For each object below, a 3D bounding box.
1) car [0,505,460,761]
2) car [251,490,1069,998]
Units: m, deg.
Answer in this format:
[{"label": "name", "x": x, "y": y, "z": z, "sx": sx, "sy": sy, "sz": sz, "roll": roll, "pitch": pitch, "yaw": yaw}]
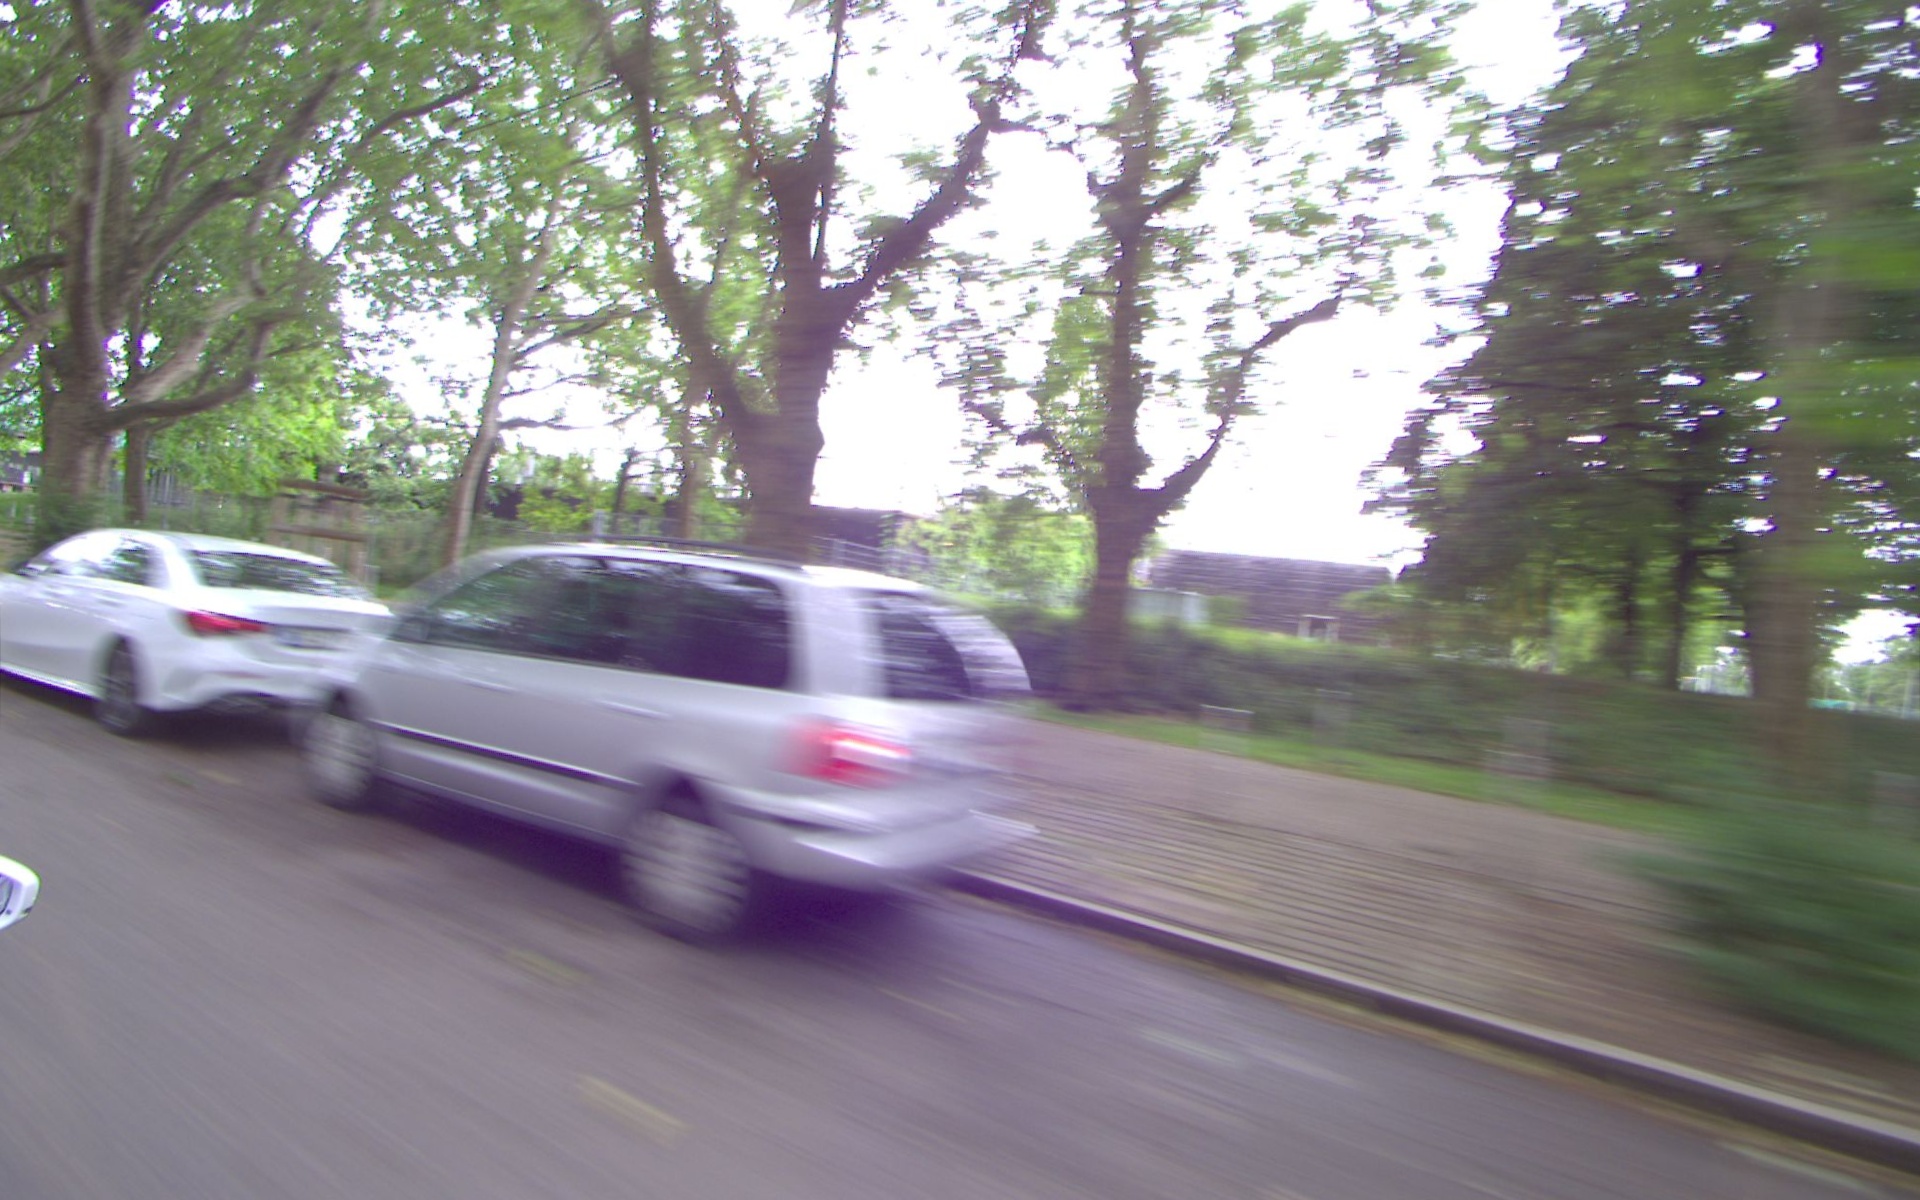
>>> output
[{"label": "car", "x": -6.453, "y": 0.144, "z": 8.339, "sx": 4.508, "sy": 1.445, "sz": 1.880, "roll": 7, "pitch": -1, "yaw": 30}, {"label": "car", "x": -1.871, "y": 0.505, "z": 5.815, "sx": 4.431, "sy": 1.759, "sz": 1.906, "roll": 7, "pitch": -1, "yaw": 31}]
